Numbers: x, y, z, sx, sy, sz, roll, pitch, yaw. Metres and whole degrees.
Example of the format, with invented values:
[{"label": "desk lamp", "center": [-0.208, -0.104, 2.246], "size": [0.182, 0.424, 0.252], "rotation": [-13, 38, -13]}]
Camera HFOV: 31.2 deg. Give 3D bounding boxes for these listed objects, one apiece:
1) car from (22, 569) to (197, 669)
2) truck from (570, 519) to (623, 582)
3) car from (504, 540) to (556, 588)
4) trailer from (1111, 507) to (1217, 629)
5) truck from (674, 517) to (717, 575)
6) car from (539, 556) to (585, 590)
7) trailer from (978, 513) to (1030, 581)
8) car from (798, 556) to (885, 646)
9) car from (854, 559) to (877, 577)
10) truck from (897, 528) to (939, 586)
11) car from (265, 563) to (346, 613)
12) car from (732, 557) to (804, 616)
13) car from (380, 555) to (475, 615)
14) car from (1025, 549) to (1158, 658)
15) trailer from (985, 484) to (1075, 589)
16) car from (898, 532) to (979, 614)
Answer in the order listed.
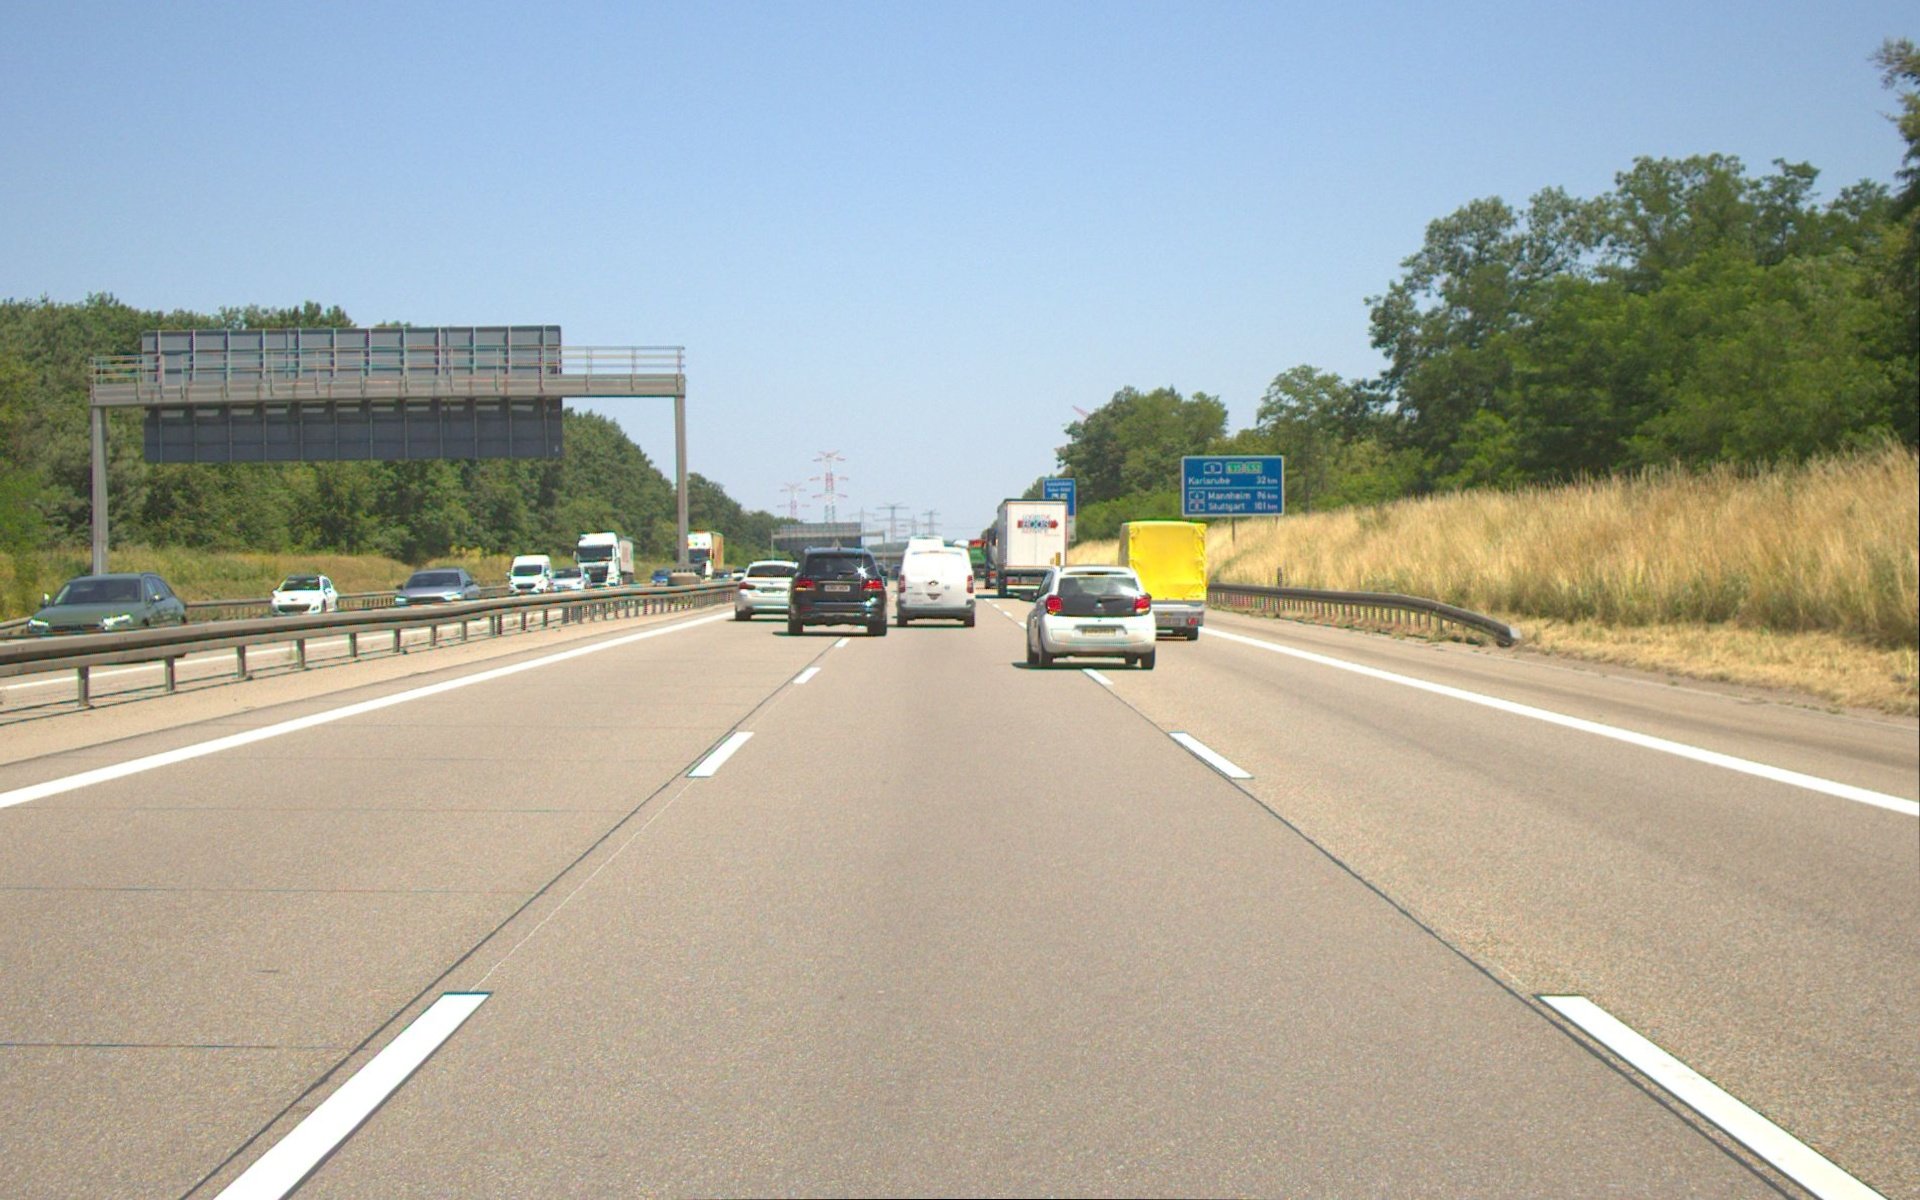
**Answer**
[{"label": "car", "center": [-13.607, 0.266, 55.236], "size": [1.698, 1.424, 4.574], "rotation": [-3, 1, -1]}, {"label": "truck", "center": [-23.662, -3.237, 223.993], "size": [2.625, 3.935, 6.483], "rotation": [-3, 1, 0]}, {"label": "car", "center": [-22.540, -1.901, 180.346], "size": [1.987, 2.332, 5.810], "rotation": [-3, 1, -1]}, {"label": "trailer", "center": [3.934, -0.631, 66.739], "size": [1.703, 2.282, 3.840], "rotation": [1, 1, -1]}, {"label": "truck", "center": [-19.179, -3.902, 249.671], "size": [2.464, 4.059, 6.287], "rotation": [-3, 1, 0]}, {"label": "car", "center": [-18.535, -1.273, 160.306], "size": [1.646, 1.494, 4.561], "rotation": [-3, 1, -1]}, {"label": "trailer", "center": [2.530, -3.076, 203.137], "size": [2.682, 3.824, 12.011], "rotation": [1, 0, -1]}, {"label": "car", "center": [-2.358, 0.001, 68.950], "size": [1.626, 1.749, 3.805], "rotation": [0, 1, 0]}, {"label": "car", "center": [-6.065, -2.078, 220.604], "size": [1.405, 1.128, 3.358], "rotation": [0, 1, 0]}, {"label": "truck", "center": [-2.156, -2.175, 175.377], "size": [2.060, 2.904, 7.003], "rotation": [0, 0, -1]}, {"label": "car", "center": [-21.753, -0.425, 114.403], "size": [1.794, 1.511, 4.904], "rotation": [-3, 1, -1]}, {"label": "car", "center": [-4.722, -0.348, 84.841], "size": [1.669, 1.396, 3.713], "rotation": [-1, 1, -2]}, {"label": "car", "center": [-14.326, -0.426, 92.676], "size": [1.794, 1.469, 4.987], "rotation": [-3, 1, -1]}, {"label": "car", "center": [1.834, 0.023, 49.032], "size": [1.708, 1.490, 4.024], "rotation": [0, 1, 0]}, {"label": "trailer", "center": [2.899, -2.609, 146.242], "size": [3.286, 4.205, 13.566], "rotation": [1, 0, -1]}, {"label": "car", "center": [-0.520, -0.627, 79.500], "size": [1.814, 1.821, 5.111], "rotation": [0, 0, -1]}]
